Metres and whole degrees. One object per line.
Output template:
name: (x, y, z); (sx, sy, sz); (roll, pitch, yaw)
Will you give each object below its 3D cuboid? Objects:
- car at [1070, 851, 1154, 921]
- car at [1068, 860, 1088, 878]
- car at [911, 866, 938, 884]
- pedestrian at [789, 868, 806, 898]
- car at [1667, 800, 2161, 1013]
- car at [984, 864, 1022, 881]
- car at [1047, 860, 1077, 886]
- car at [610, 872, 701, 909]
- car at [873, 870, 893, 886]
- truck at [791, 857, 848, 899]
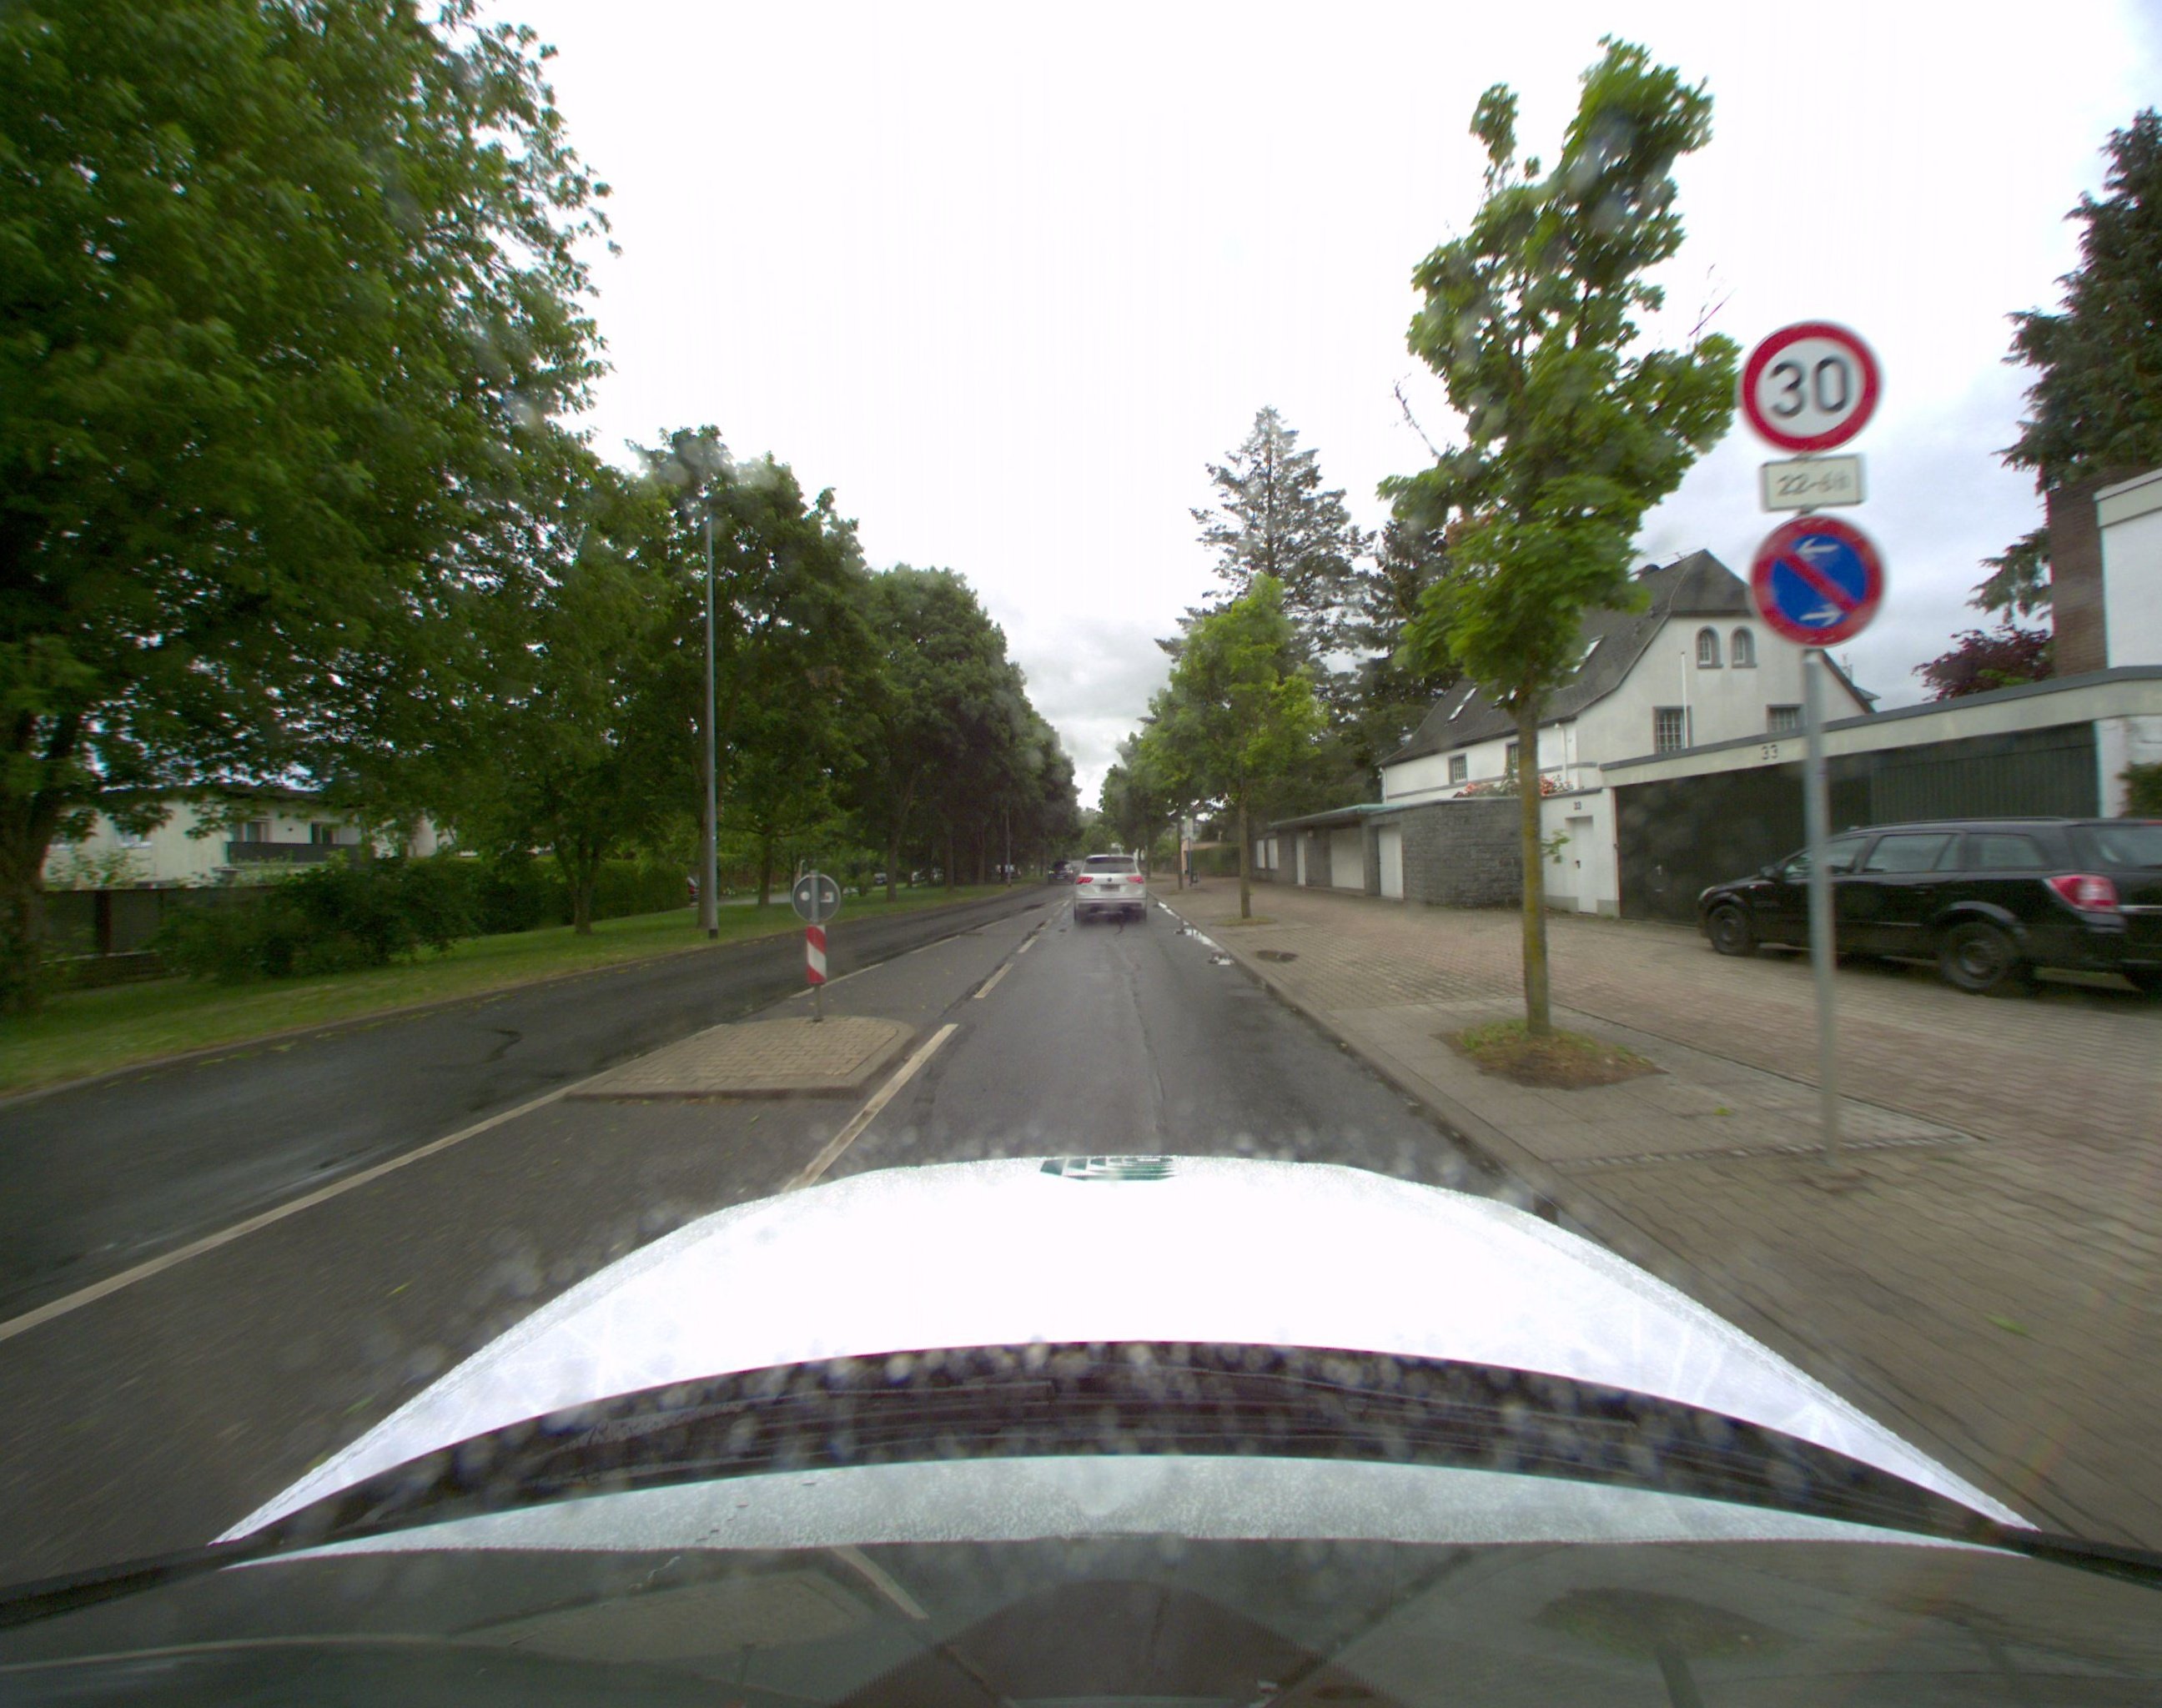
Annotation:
car: (0.728, 0.771, 21.312); (1.991, 1.632, 3.999); (-1, 0, -1)
car: (-0.259, 1.458, 78.269); (1.749, 1.648, 4.001); (-1, -1, 2)
car: (-13.986, 1.857, 72.833); (1.846, 1.482, 3.975); (-2, -1, -18)
pedestrian: (-17.774, 1.822, 51.060); (0.707, 1.841, 0.823); (-2, 0, -4)
car: (8.261, 0.358, 8.067); (1.764, 1.498, 4.547); (-3, 0, 3)
car: (-7.249, 1.726, 75.442); (1.854, 1.482, 3.958); (-2, -1, -33)
car: (-1.250, 1.271, 55.426); (1.808, 1.648, 4.000); (-1, -1, 1)
car: (-23.406, 2.006, 44.917); (3.986, 1.816, 1.874); (-2, -1, -9)
car: (-20.505, 2.447, 84.305); (1.476, 1.530, 3.107); (-2, -1, -5)
truck: (-17.389, 1.550, 54.469); (2.281, 2.597, 5.864); (-2, -1, -5)
